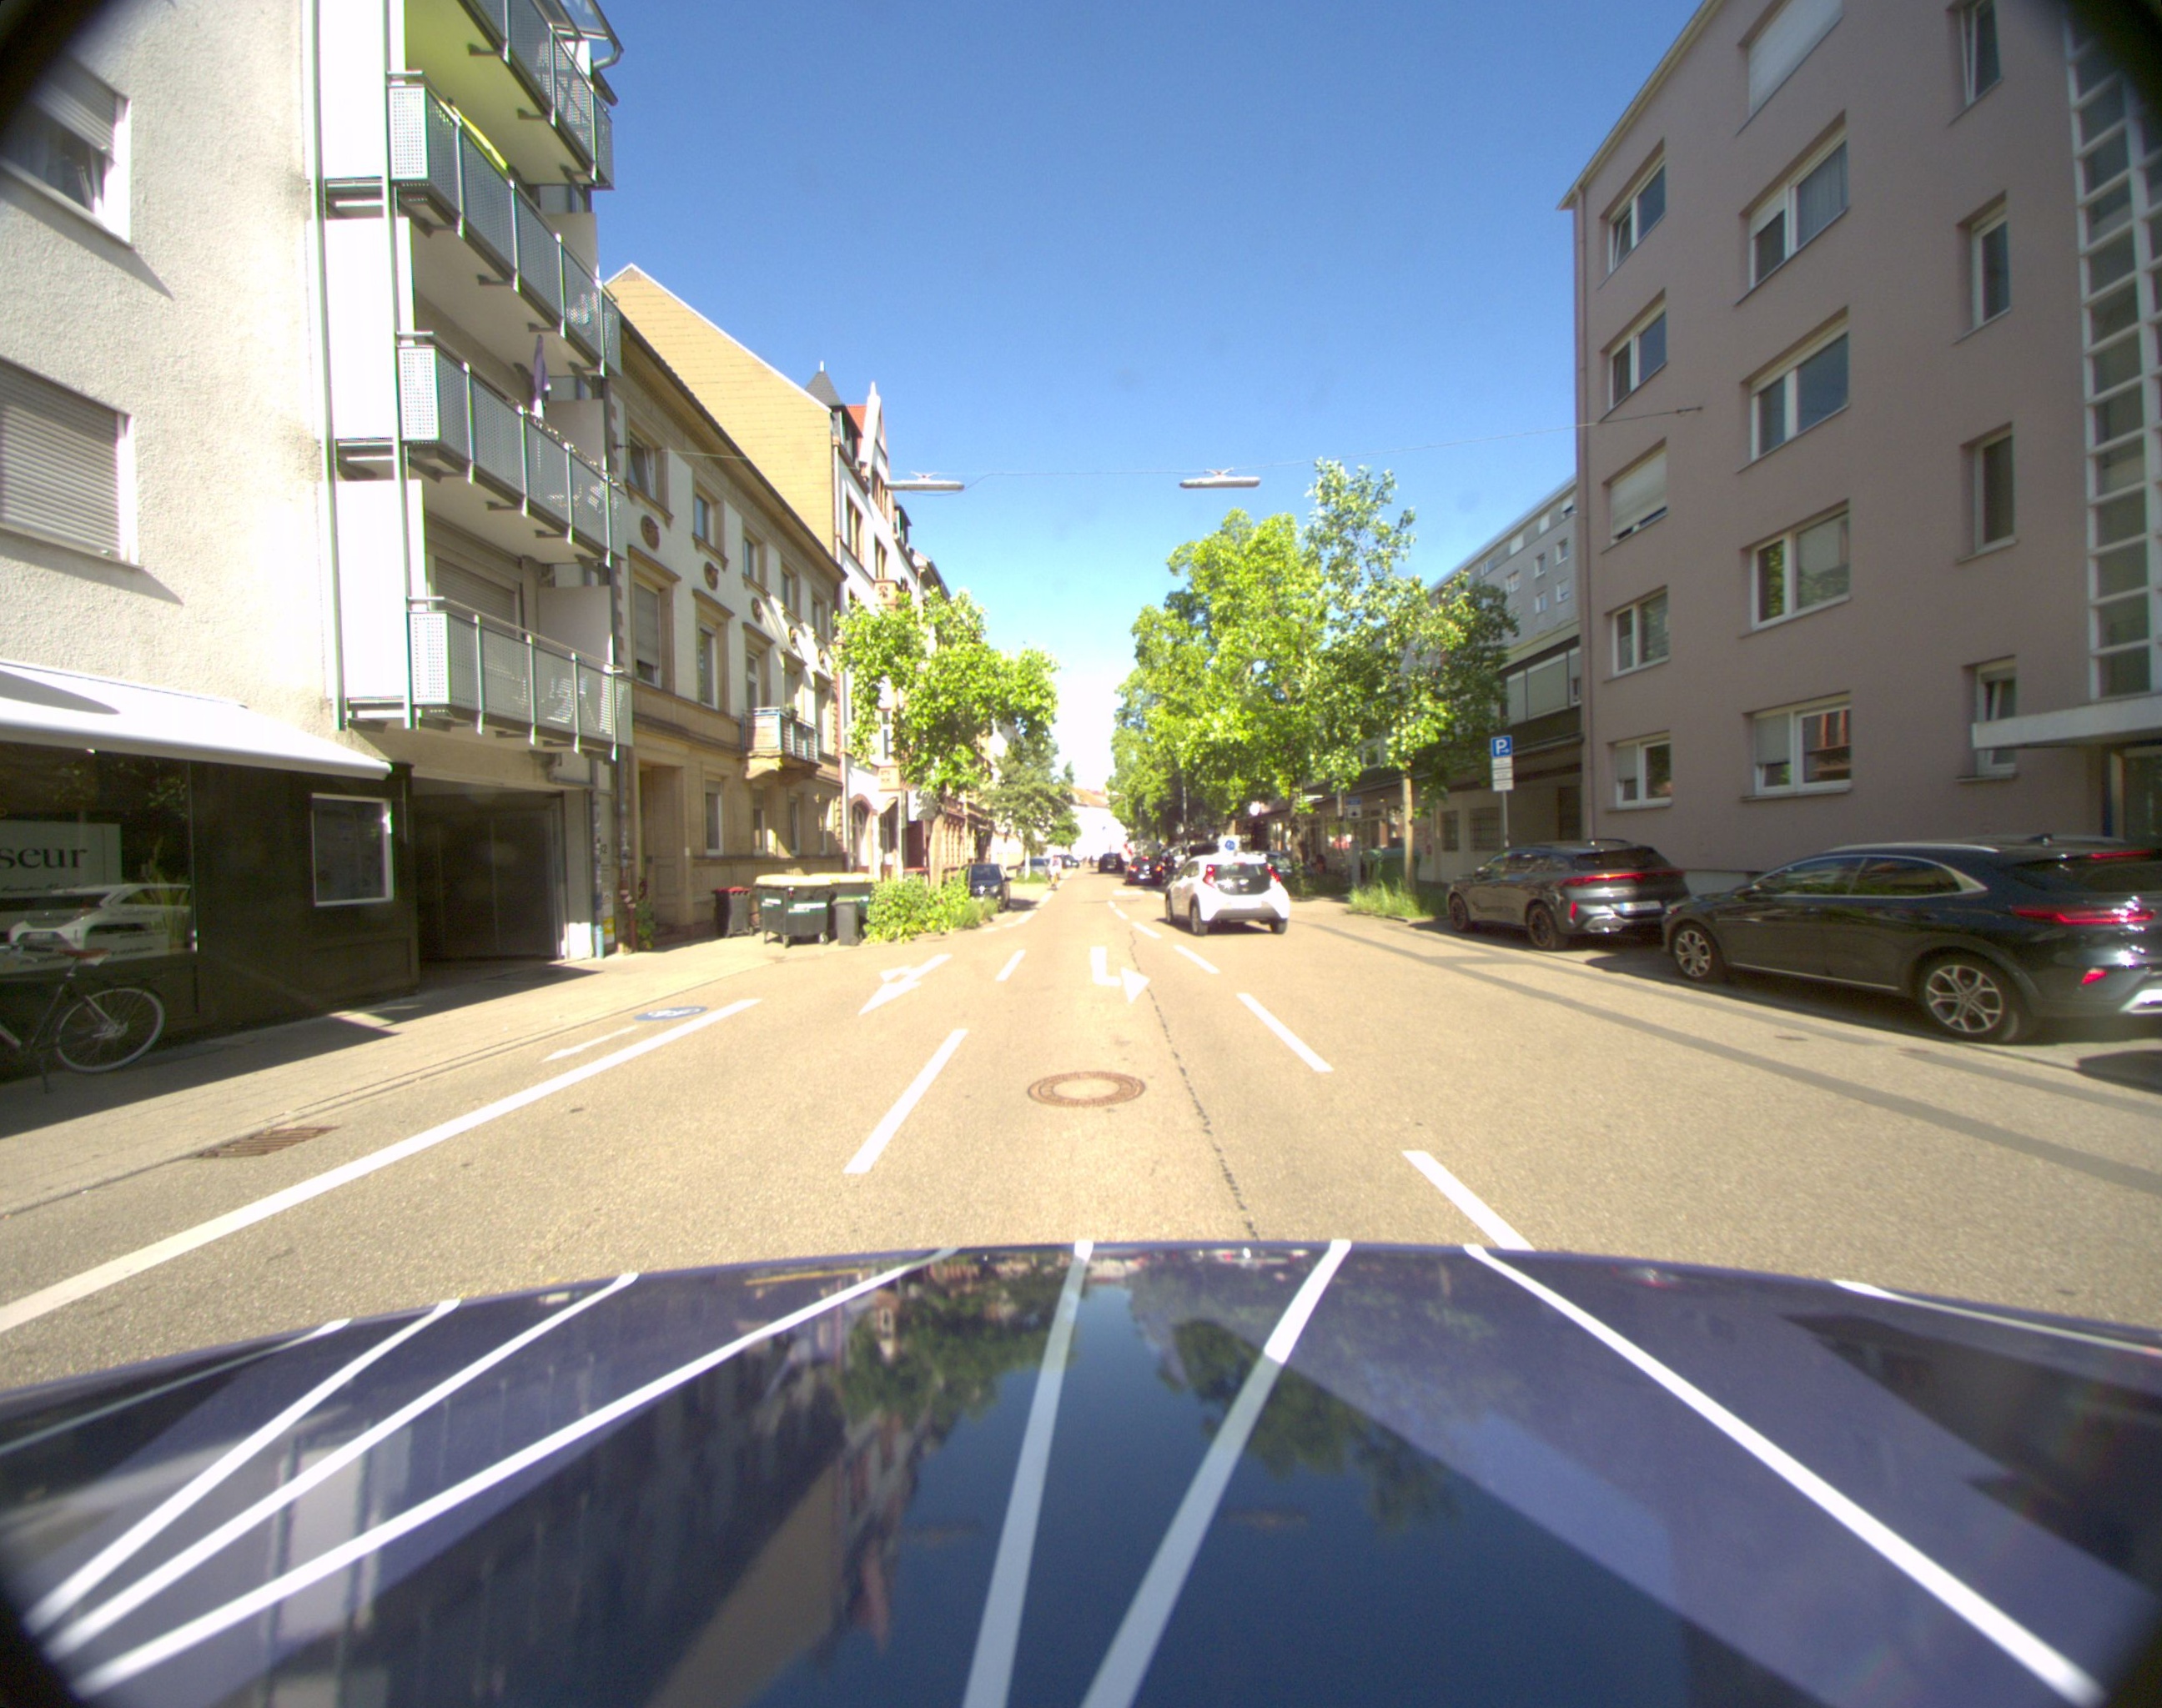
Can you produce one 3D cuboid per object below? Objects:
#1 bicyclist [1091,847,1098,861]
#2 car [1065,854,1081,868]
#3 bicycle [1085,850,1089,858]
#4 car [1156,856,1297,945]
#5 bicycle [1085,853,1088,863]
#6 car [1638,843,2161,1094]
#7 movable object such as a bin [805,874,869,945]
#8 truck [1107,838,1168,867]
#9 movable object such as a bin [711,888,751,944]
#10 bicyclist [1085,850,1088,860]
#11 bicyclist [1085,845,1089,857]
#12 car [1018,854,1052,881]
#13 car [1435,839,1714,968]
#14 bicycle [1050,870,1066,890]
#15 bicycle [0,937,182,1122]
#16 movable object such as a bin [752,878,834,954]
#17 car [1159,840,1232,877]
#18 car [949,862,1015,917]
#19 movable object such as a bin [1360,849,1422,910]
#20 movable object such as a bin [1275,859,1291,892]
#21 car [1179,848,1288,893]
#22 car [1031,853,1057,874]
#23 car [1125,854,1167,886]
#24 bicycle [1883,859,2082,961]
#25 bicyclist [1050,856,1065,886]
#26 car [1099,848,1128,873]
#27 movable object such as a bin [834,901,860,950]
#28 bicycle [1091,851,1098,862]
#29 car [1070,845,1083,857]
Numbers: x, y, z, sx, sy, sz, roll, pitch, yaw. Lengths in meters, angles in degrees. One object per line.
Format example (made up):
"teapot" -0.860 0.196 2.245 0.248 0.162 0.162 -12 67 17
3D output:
"bicyclist" 1.534 0.039 87.440 0.748 1.588 0.613 -3 1 1
"car" -0.826 0.798 83.350 1.653 1.447 3.290 -2 0 1
"bicycle" 0.936 -0.036 122.878 0.570 1.139 2.259 -3 1 1
"car" 2.802 0.833 15.508 1.771 1.528 3.784 -2 0 -6
"bicycle" 0.722 0.565 104.463 0.422 1.292 1.762 -2 0 0
"car" 7.511 0.713 6.920 1.821 1.499 4.245 -4 0 2
"movable object such as a bin" -5.092 1.130 15.856 0.960 1.341 1.066 -1 2 -38
"truck" 5.296 -0.171 71.623 5.322 2.581 1.998 -2 1 -9
"movable object such as a bin" -7.325 1.279 15.895 0.615 1.075 0.568 2 3 42
"bicyclist" 0.715 0.177 104.464 0.417 1.415 0.324 -2 1 1
"bicyclist" 0.921 -0.428 122.903 0.578 1.911 0.613 -3 1 1
"car" -2.754 0.774 45.890 1.759 1.492 3.949 -2 0 0
"car" 7.584 0.652 12.260 1.821 1.583 4.141 -5 0 2
"bicycle" -1.083 1.171 35.193 0.612 0.876 1.813 -1 -1 -5
"bicycle" -7.751 1.288 5.448 0.402 1.171 1.792 -2 0 1
"movable object such as a bin" -5.595 1.167 14.779 1.212 1.318 1.052 2 3 42
"car" 6.697 0.272 44.780 3.997 2.020 2.000 -2 1 1
"car" -2.976 1.020 23.368 1.551 1.483 3.351 -2 0 0
"movable object such as a bin" 8.128 0.643 19.996 1.247 1.536 1.019 -2 1 5
"movable object such as a bin" 7.612 0.791 28.679 0.488 1.218 0.409 -2 1 1
"car" 6.081 0.642 30.672 3.997 1.665 2.000 -2 1 1
"car" -2.643 0.662 55.205 1.653 1.483 3.290 -2 0 0
"car" 3.170 0.748 37.621 1.867 1.455 4.000 -2 0 3
"bicycle" 10.755 0.622 9.158 0.391 1.070 1.650 -6 1 2
"bicyclist" -1.080 0.775 35.159 0.610 1.338 1.018 -2 0 -5
"car" 2.438 0.475 58.015 1.994 1.599 4.259 -3 3 1
"movable object such as a bin" -4.584 1.391 14.891 0.401 0.916 0.484 0 2 -7
"bicycle" 1.552 0.263 87.472 0.778 1.139 2.259 -3 1 1
"car" -0.711 -0.501 126.576 1.998 2.002 4.000 -2 0 1
